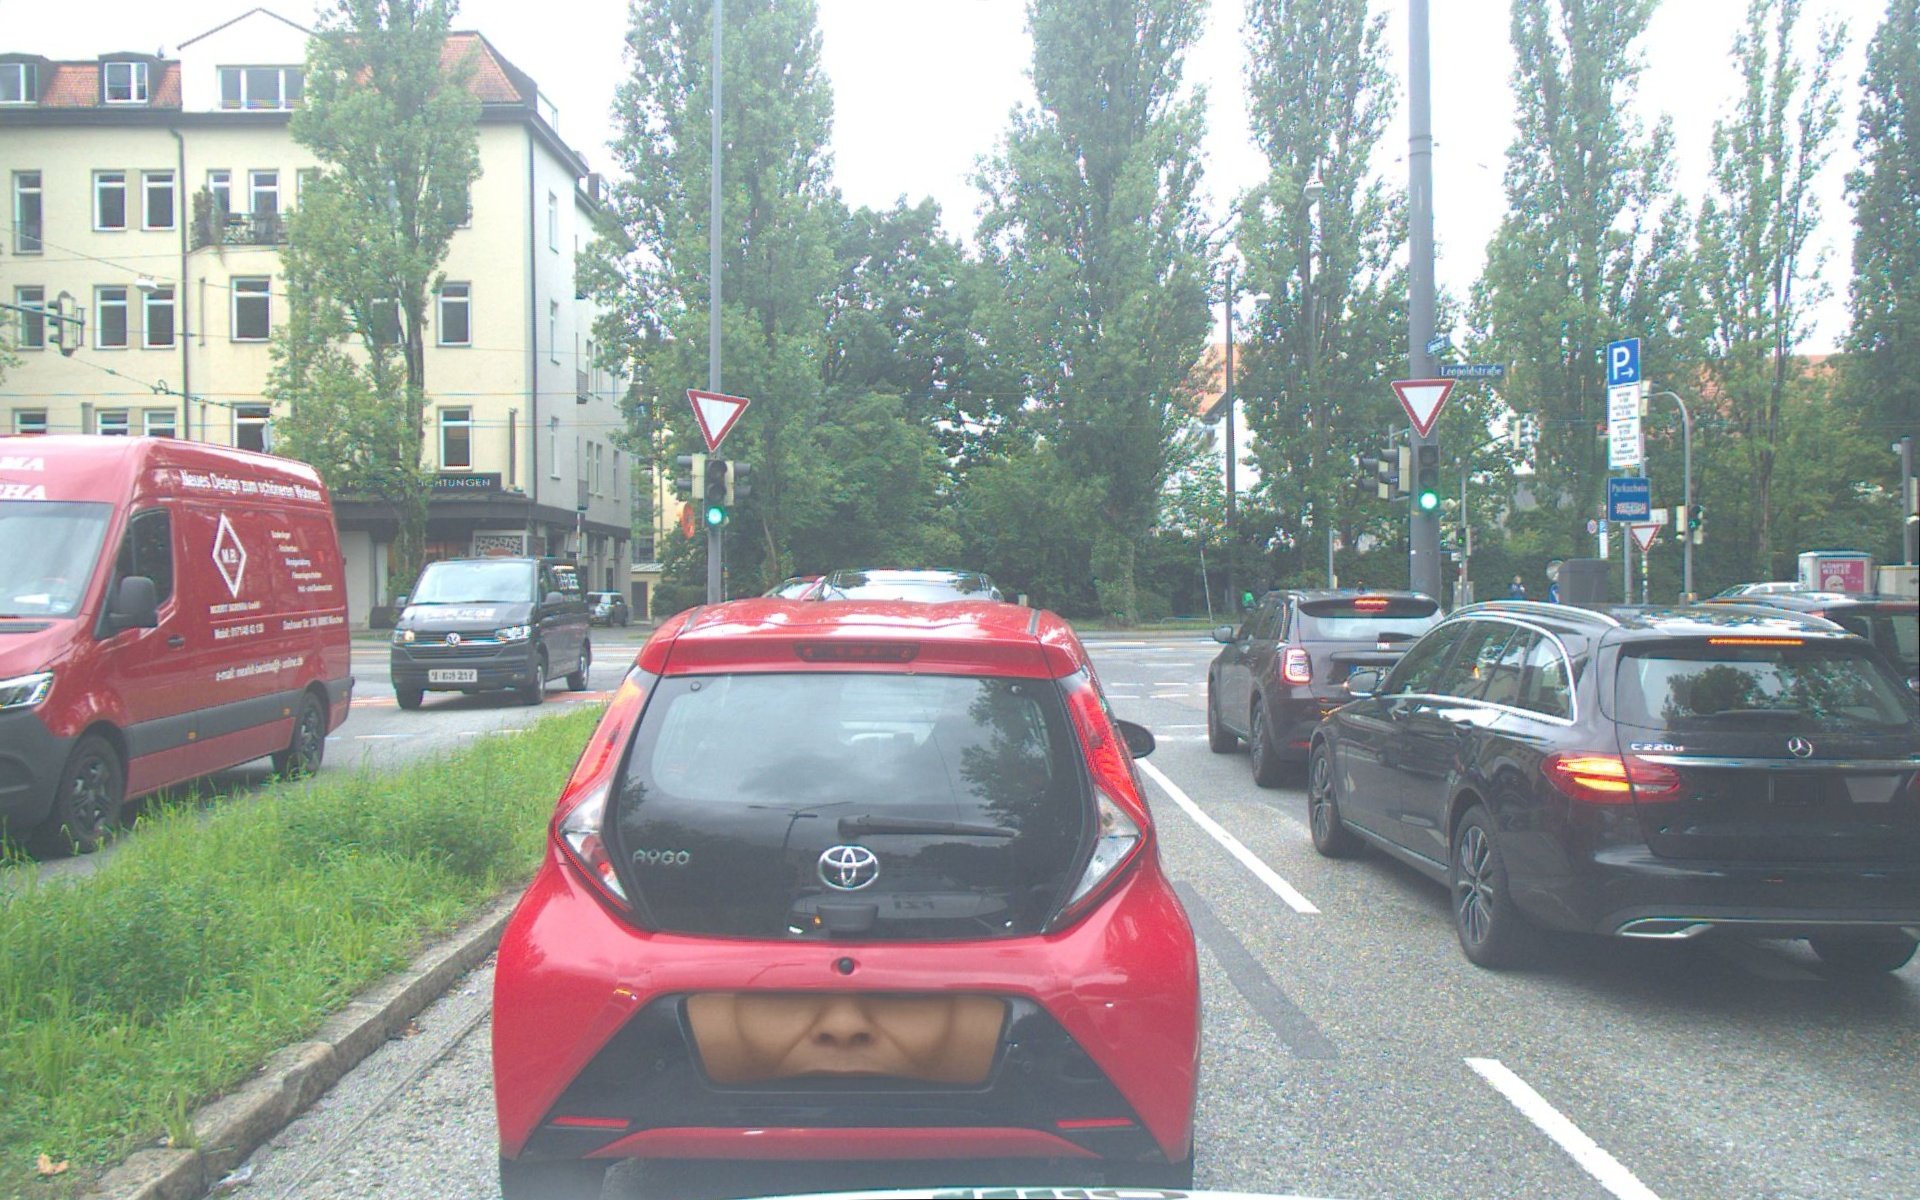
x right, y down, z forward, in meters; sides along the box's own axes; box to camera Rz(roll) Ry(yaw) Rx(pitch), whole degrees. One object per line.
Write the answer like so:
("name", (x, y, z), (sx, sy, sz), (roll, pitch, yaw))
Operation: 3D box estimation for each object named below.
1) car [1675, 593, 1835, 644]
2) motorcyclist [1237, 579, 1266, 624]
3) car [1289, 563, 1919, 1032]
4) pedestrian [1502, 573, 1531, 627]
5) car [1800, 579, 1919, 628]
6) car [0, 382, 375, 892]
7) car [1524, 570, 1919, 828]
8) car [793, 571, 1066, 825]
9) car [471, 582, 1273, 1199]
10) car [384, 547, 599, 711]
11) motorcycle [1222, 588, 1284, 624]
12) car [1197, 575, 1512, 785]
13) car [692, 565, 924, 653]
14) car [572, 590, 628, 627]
("car", (25.339, 0.571, 52.814), (4.251, 1.512, 1.786), (-1, 0, -3))
("motorcyclist", (9.733, 0.044, 55.216), (0.860, 1.468, 0.621), (1, -1, 5))
("car", (3.001, 0.660, 7.985), (1.825, 1.576, 4.703), (1, 0, -1))
("pedestrian", (17.685, -0.006, 52.561), (0.689, 1.691, 0.549), (0, -1, 39))
("car", (29.748, 0.093, 53.620), (4.160, 1.512, 1.786), (-1, 0, -3))
("car", (-6.070, 0.142, 11.516), (2.061, 2.634, 6.078), (-1, 2, -3))
("car", (5.927, 0.584, 12.472), (1.793, 1.576, 4.554), (-1, 0, 0))
("car", (-0.172, 0.595, 12.678), (1.700, 1.576, 4.577), (-1, 0, 0))
("car", (-0.161, 0.691, 5.010), (1.595, 1.465, 3.377), (-1, 0, 0))
("car", (-6.360, 0.338, 23.012), (1.820, 2.025, 4.702), (-1, 0, -3))
("motorcycle", (9.781, 0.198, 55.210), (1.980, 1.190, 0.631), (1, -1, 4))
("car", (3.198, 0.588, 14.198), (1.744, 1.512, 4.000), (-1, 0, 0))
("car", (-3.182, 0.141, 35.600), (2.072, 1.666, 4.913), (0, 2, 41))
("car", (-14.981, 0.321, 68.981), (1.691, 1.467, 3.997), (-1, 0, -4))
